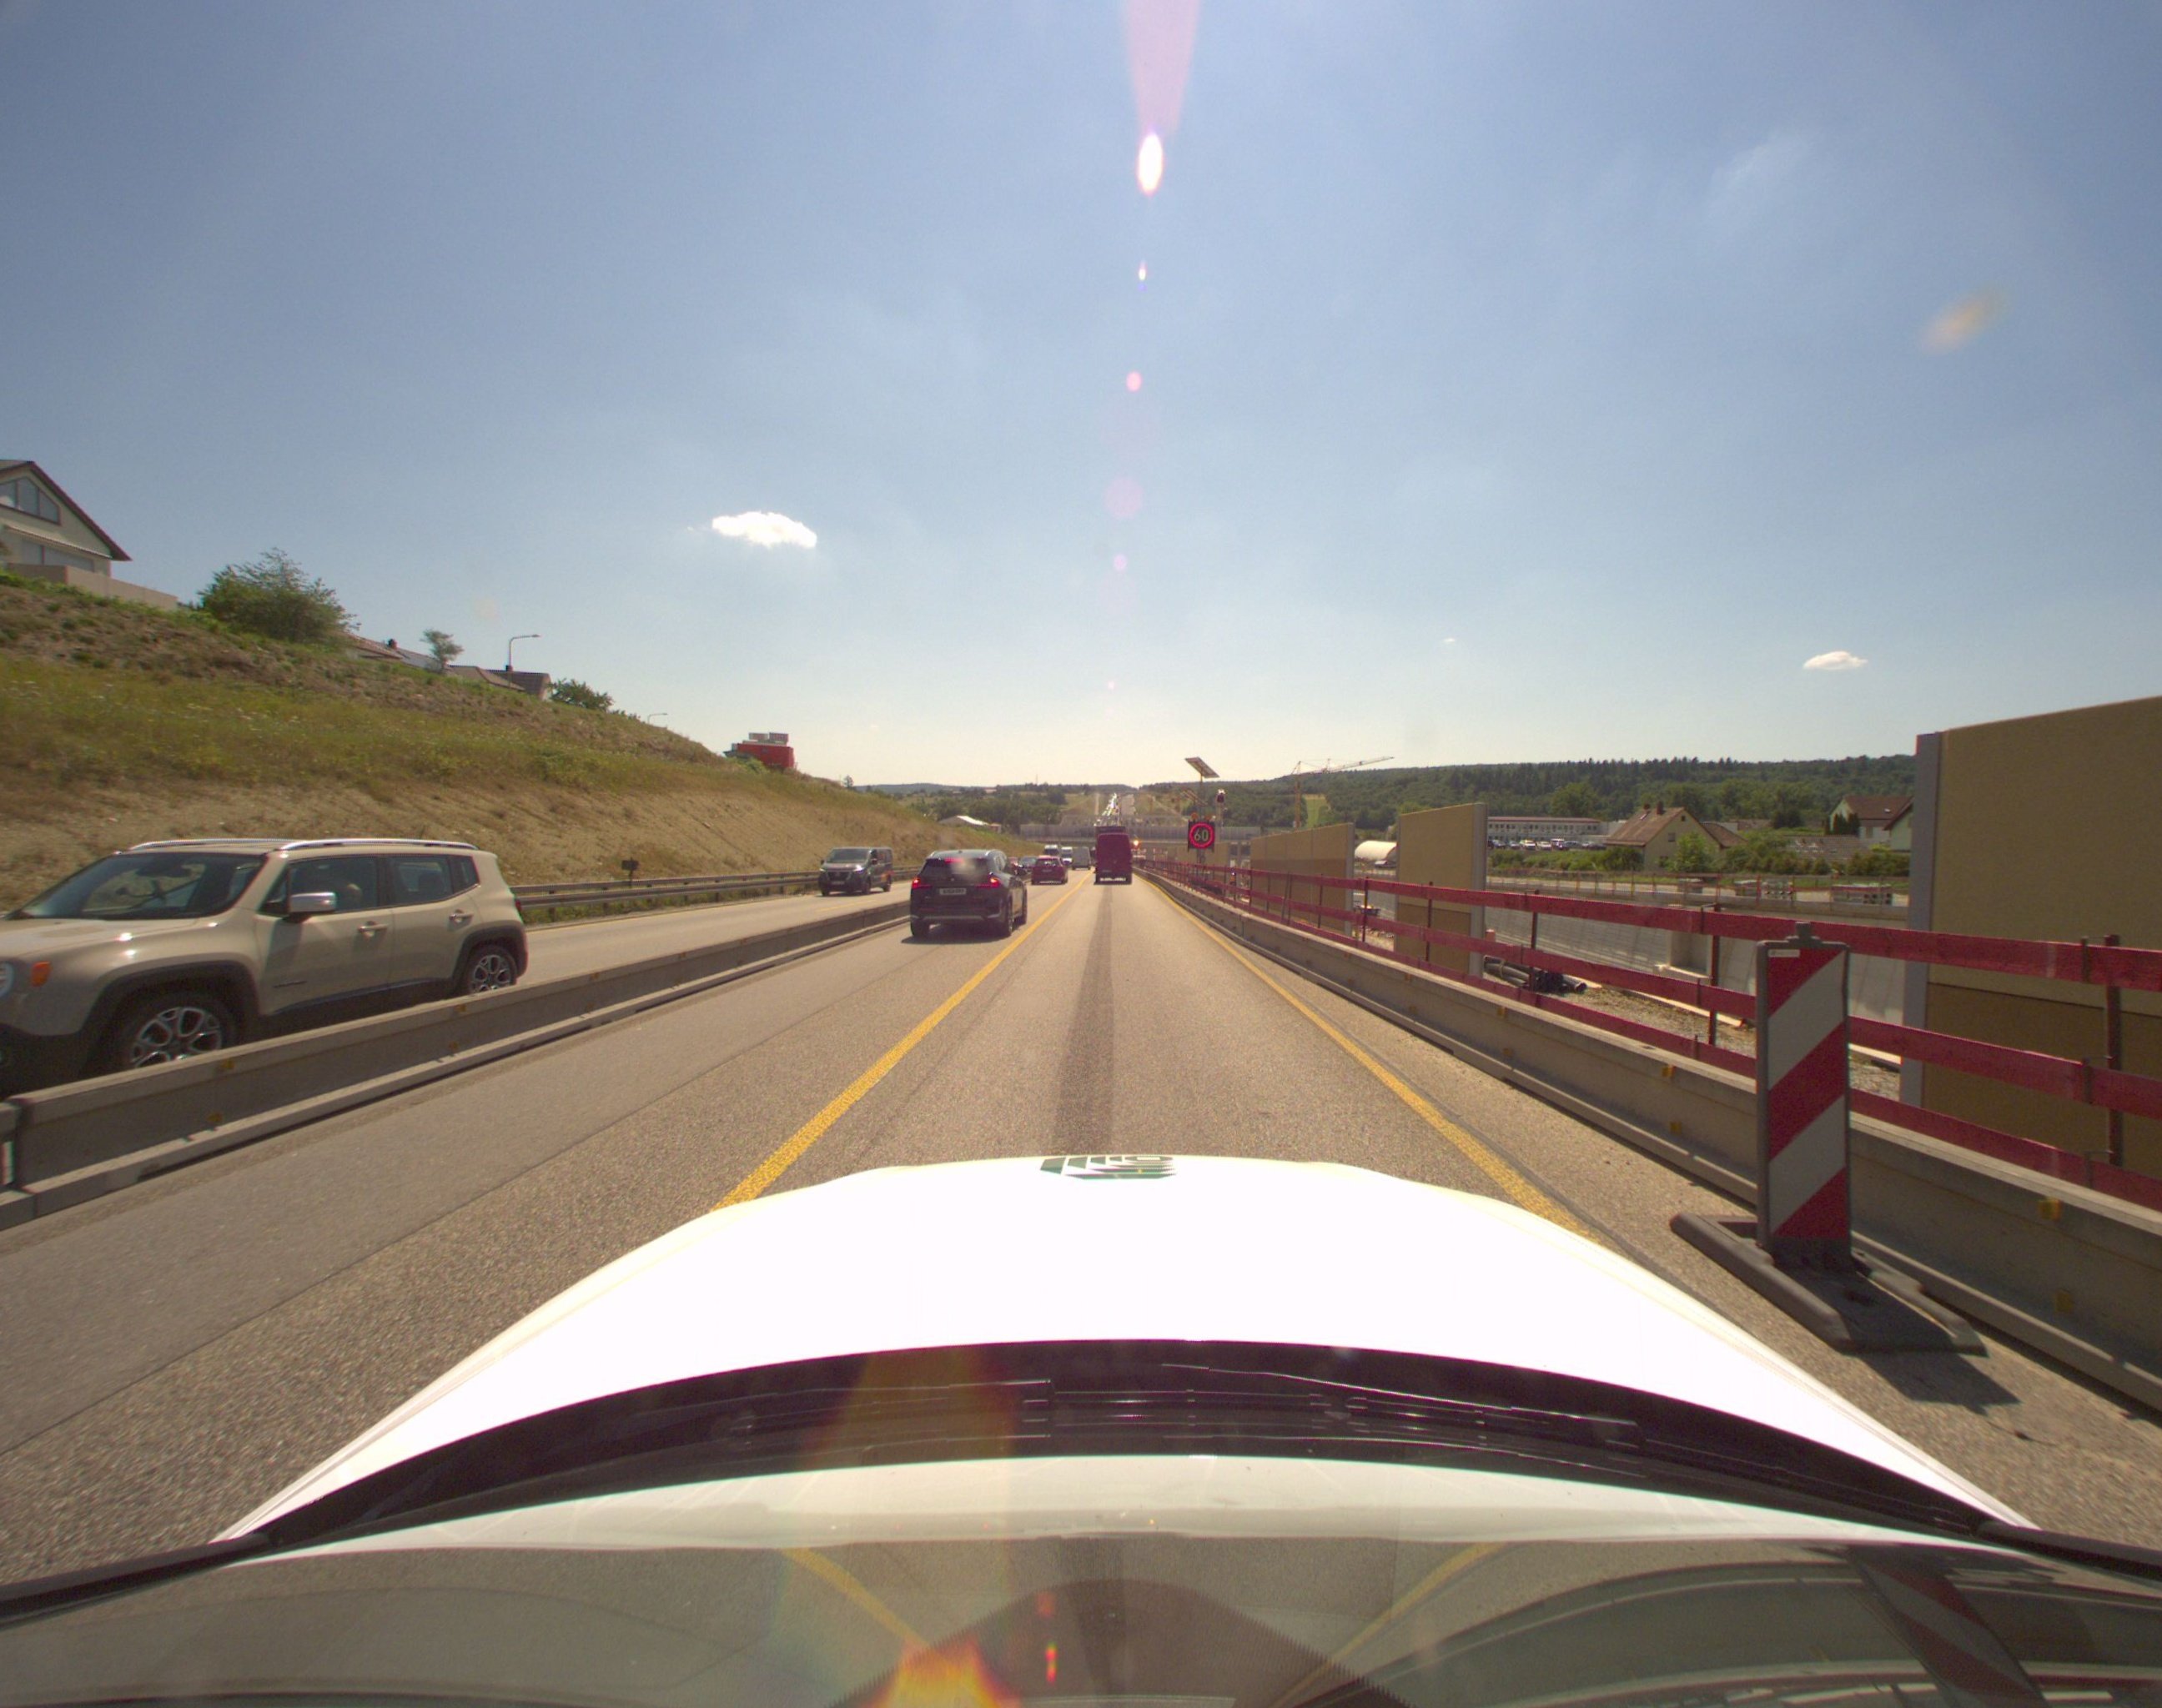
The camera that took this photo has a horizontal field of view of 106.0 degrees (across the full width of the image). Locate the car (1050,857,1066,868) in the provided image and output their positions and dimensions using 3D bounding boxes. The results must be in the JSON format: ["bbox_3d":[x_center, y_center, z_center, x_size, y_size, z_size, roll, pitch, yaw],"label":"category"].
[{"bbox_3d":[-3.116,1.154,110.544,1.790,1.427,4.951,-1,0,2],"label":"car"}]

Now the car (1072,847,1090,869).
[{"bbox_3d":[0.035,0.431,90.935,1.769,2.441,4.208,-1,0,2],"label":"car"}]

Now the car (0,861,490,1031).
[{"bbox_3d":[-9.756,0.838,9.625,1.986,1.507,4.720,0,0,2],"label":"car"}]

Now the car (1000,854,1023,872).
[{"bbox_3d":[-7.122,0.881,84.033,1.823,1.791,5.027,-1,0,2],"label":"car"}]

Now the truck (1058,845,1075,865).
[{"bbox_3d":[-2.358,0.176,137.129,2.528,3.374,7.040,0,0,2],"label":"truck"}]

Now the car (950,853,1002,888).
[{"bbox_3d":[-5.274,0.777,41.573,1.832,1.654,5.373,-1,0,1],"label":"car"}]

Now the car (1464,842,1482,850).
[{"bbox_3d":[77.341,-1.647,160.702,1.673,1.517,4.079,0,0,4],"label":"car"}]

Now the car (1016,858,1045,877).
[{"bbox_3d":[-4.230,1.104,68.726,1.947,1.499,5.092,0,0,2],"label":"car"}]

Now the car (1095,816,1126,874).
[{"bbox_3d":[2.749,-0.792,76.378,2.611,5.032,10.401,-1,0,2],"label":"car"}]

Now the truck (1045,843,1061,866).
[{"bbox_3d":[-5.102,0.041,147.412,2.688,4.050,3.956,0,0,1],"label":"truck"}]

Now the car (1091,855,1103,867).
[{"bbox_3d":[2.543,1.072,125.139,1.769,1.670,4.030,-1,0,2],"label":"car"}]

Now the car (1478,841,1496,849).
[{"bbox_3d":[79.898,-1.798,160.301,1.673,1.517,4.079,0,0,4],"label":"car"}]

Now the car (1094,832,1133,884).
[{"bbox_3d":[1.774,0.209,44.509,1.981,2.690,4.625,-1,0,2],"label":"car"}]

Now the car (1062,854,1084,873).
[{"bbox_3d":[-0.720,0.843,73.338,1.832,1.654,4.166,-1,0,1],"label":"car"}]

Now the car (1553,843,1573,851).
[{"bbox_3d":[92.762,-1.336,156.620,1.673,1.517,4.079,0,0,4],"label":"car"}]

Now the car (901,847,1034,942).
[{"bbox_3d":[-2.114,0.712,16.441,1.872,1.618,4.501,-1,0,2],"label":"car"}]

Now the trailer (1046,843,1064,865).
[{"bbox_3d":[-4.883,0.083,155.194,2.688,4.024,13.707,0,0,2],"label":"trailer"}]

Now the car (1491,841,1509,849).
[{"bbox_3d":[82.439,-1.823,160.128,1.673,1.517,4.079,0,0,4],"label":"car"}]

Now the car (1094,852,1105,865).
[{"bbox_3d":[3.361,0.820,147.330,1.769,2.330,4.208,-1,0,2],"label":"car"}]

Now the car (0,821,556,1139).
[{"bbox_3d":[-6.524,0.686,6.391,1.825,1.666,4.416,-1,0,2],"label":"car"}]

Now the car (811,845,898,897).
[{"bbox_3d":[-9.304,0.659,33.890,2.031,1.926,5.123,-1,0,1],"label":"car"}]

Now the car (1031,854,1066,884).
[{"bbox_3d":[-1.687,0.780,43.485,1.771,1.517,4.203,-1,0,-1],"label":"car"}]

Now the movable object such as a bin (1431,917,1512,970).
[{"bbox_3d":[22.093,5.008,46.315,2.598,2.489,4.456,1,0,2],"label":"movable object such as a bin"}]
